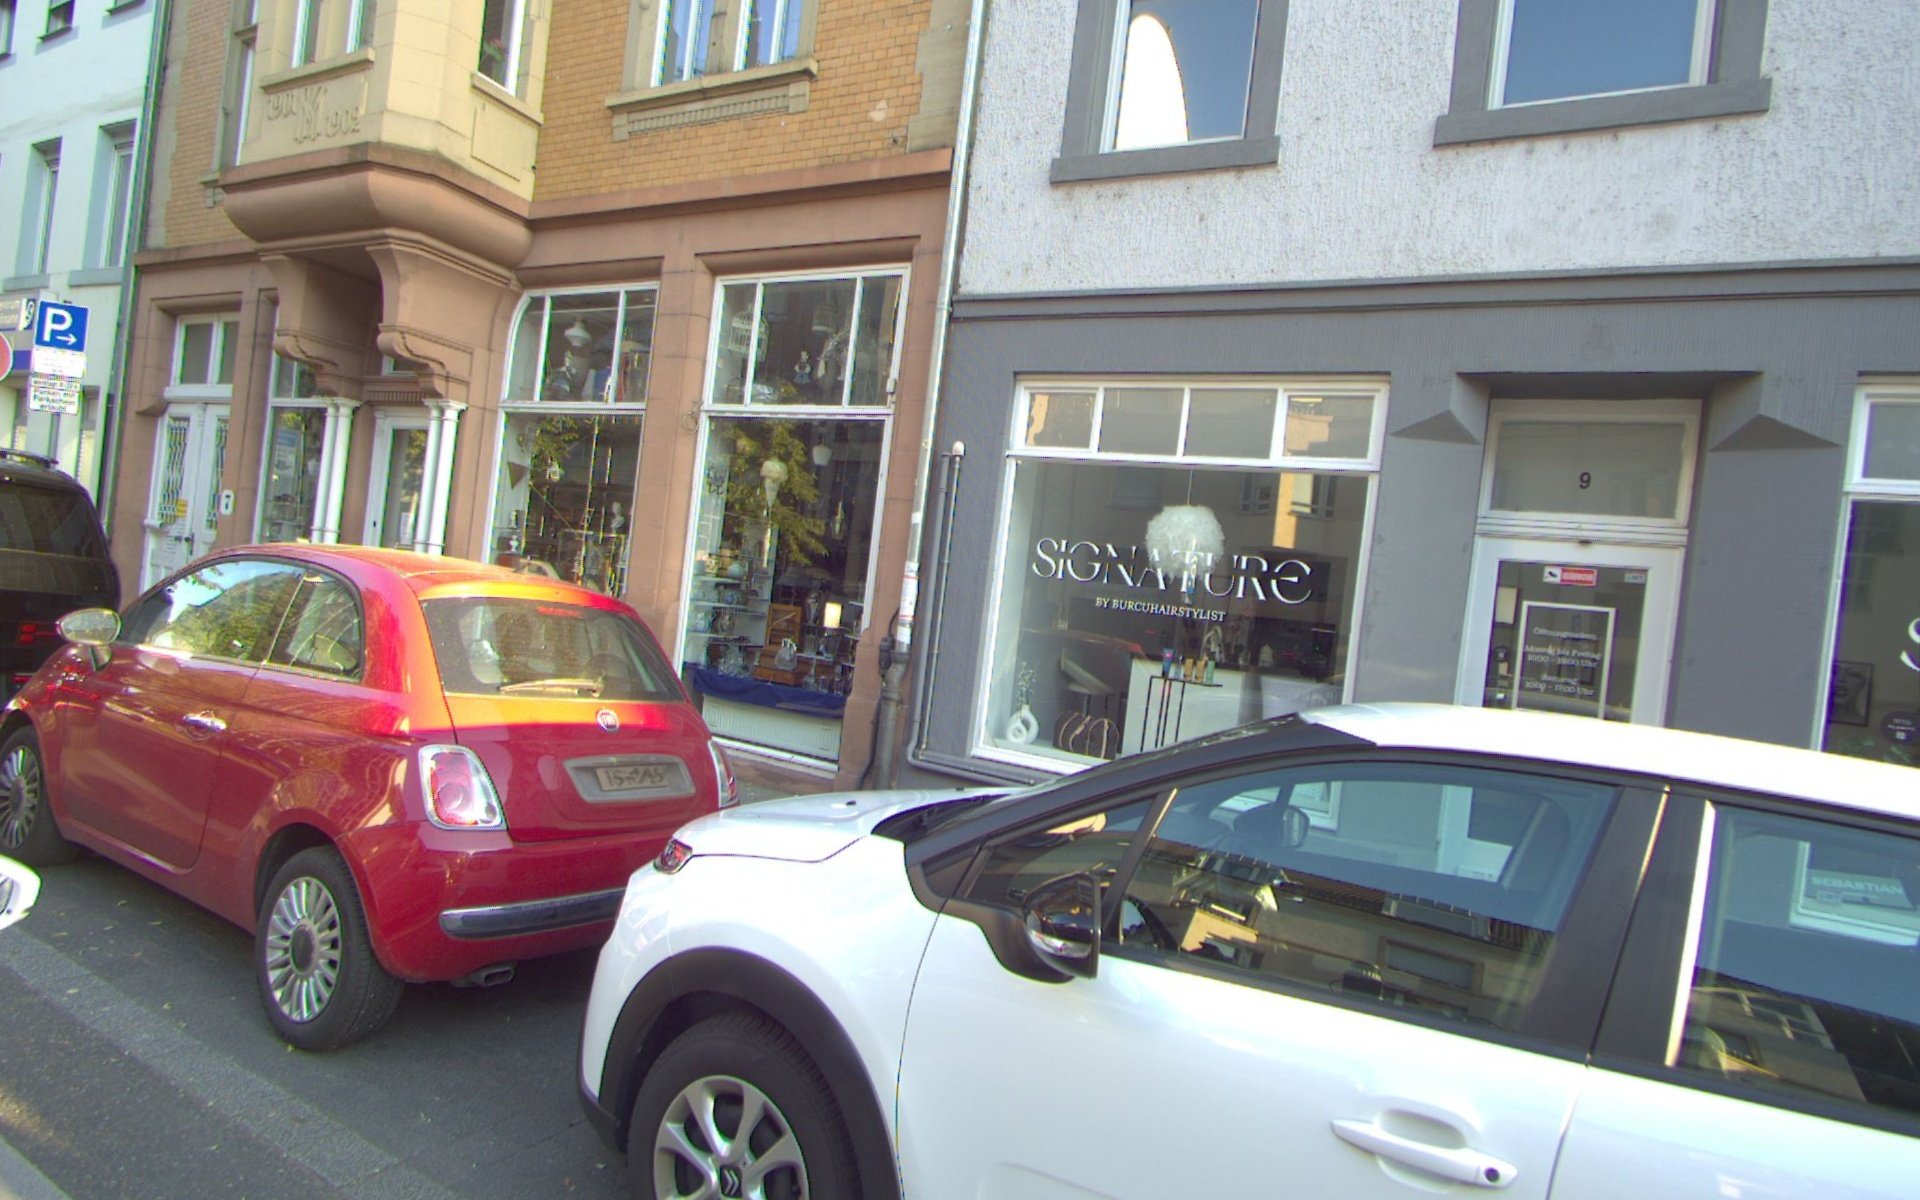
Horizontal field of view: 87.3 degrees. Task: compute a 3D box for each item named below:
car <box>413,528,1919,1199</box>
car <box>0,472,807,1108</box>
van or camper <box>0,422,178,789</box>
[{"bbox_3d":[0.843,0.886,2.213,3.868,1.591,1.666,6,-2,30],"label":"car"},{"bbox_3d":[-2.523,0.466,4.192,3.364,1.588,1.529,7,-1,30],"label":"car"},{"bbox_3d":[-6.869,-0.215,5.667,4.380,1.829,1.896,7,-1,24],"label":"van or camper"}]
